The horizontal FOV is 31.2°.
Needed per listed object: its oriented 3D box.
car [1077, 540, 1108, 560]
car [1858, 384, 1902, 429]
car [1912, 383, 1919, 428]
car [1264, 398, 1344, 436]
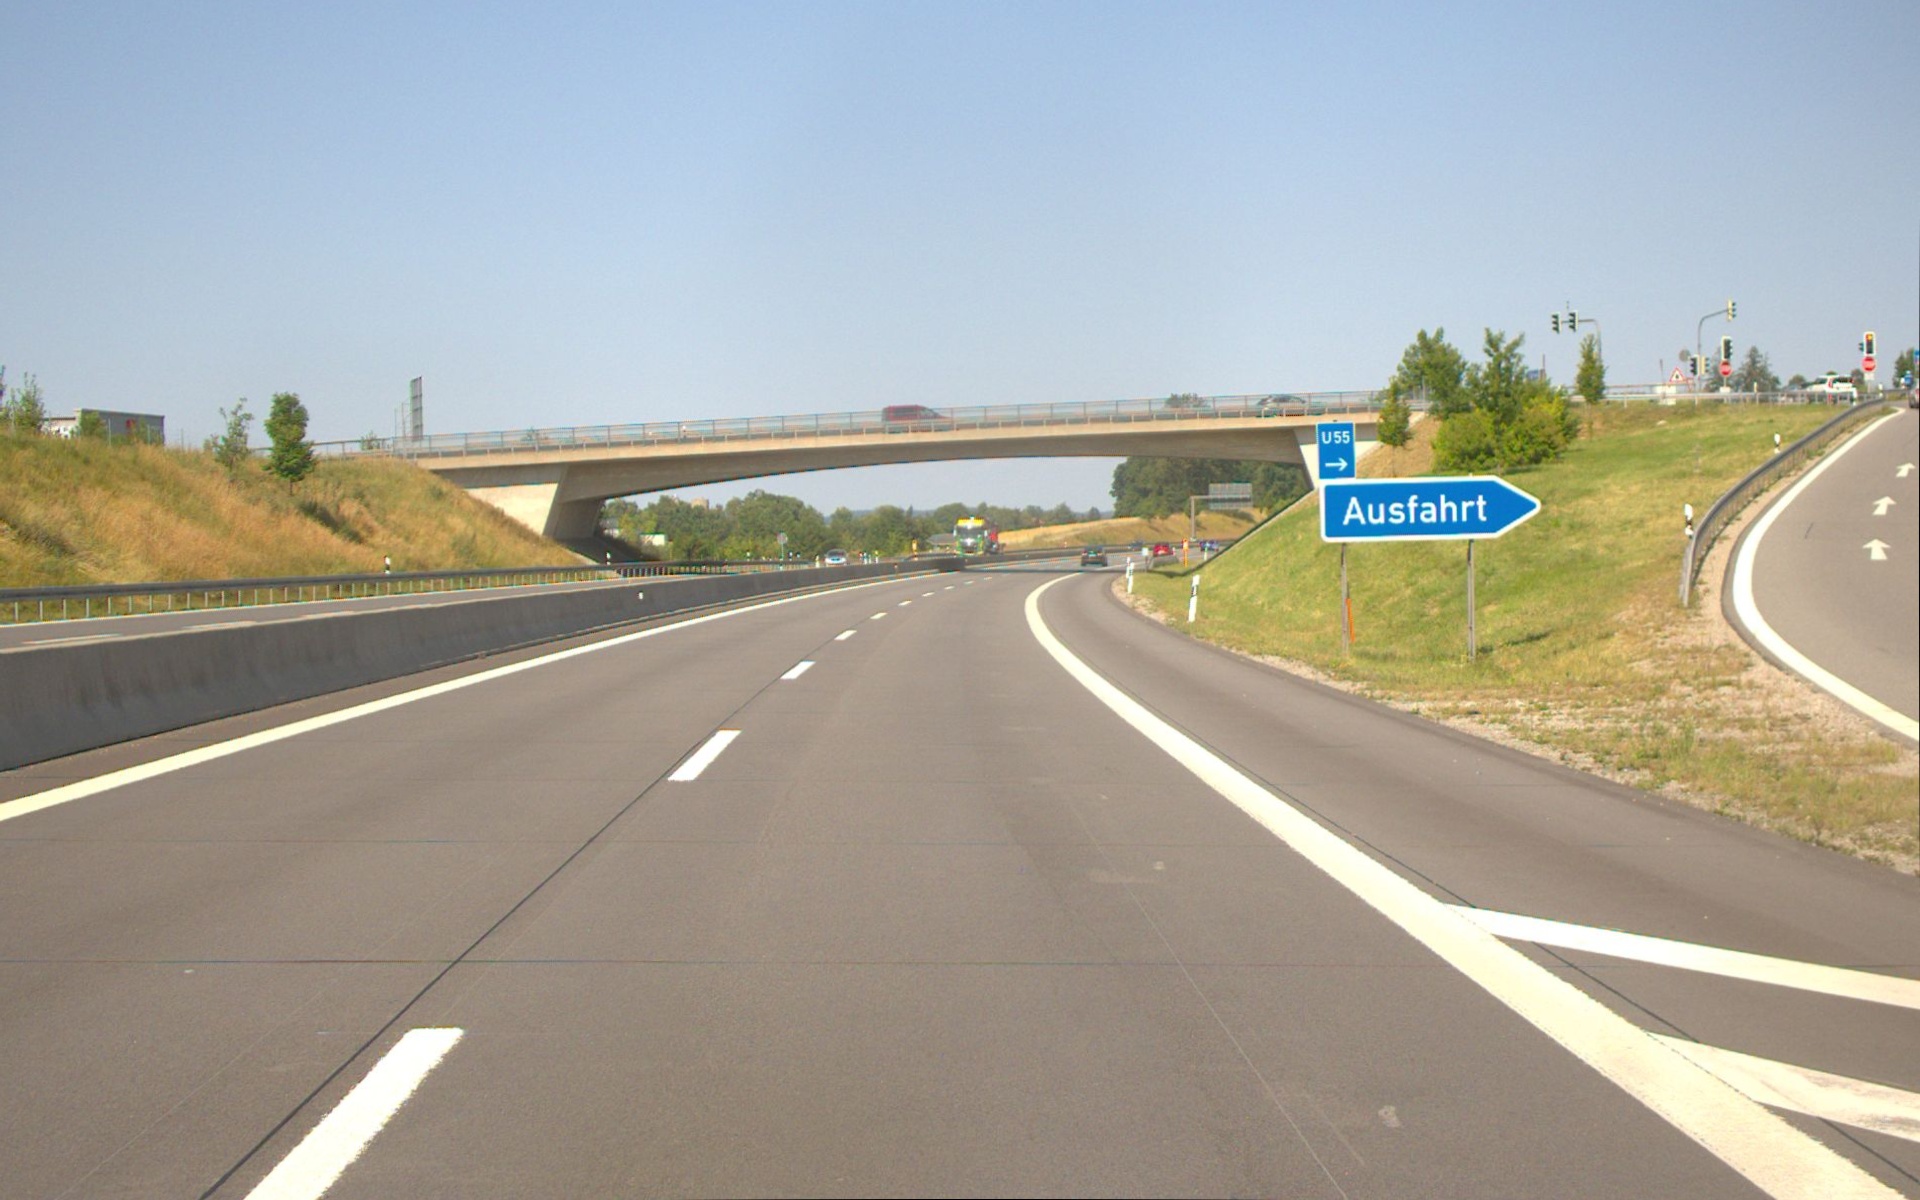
[{"bbox_3d":[9.574,-3.626,248.861,1.993,1.415,4.000,-2,1,0],"label":"car"},{"bbox_3d":[45.477,-9.563,169.923,1.995,2.007,3.997,-2,1,15],"label":"car"},{"bbox_3d":[45.922,-9.180,161.997,1.995,2.007,3.997,-2,1,15],"label":"car"},{"bbox_3d":[19.927,-10.607,199.432,4.247,2.014,2.000,-2,1,-5],"label":"car"}]
